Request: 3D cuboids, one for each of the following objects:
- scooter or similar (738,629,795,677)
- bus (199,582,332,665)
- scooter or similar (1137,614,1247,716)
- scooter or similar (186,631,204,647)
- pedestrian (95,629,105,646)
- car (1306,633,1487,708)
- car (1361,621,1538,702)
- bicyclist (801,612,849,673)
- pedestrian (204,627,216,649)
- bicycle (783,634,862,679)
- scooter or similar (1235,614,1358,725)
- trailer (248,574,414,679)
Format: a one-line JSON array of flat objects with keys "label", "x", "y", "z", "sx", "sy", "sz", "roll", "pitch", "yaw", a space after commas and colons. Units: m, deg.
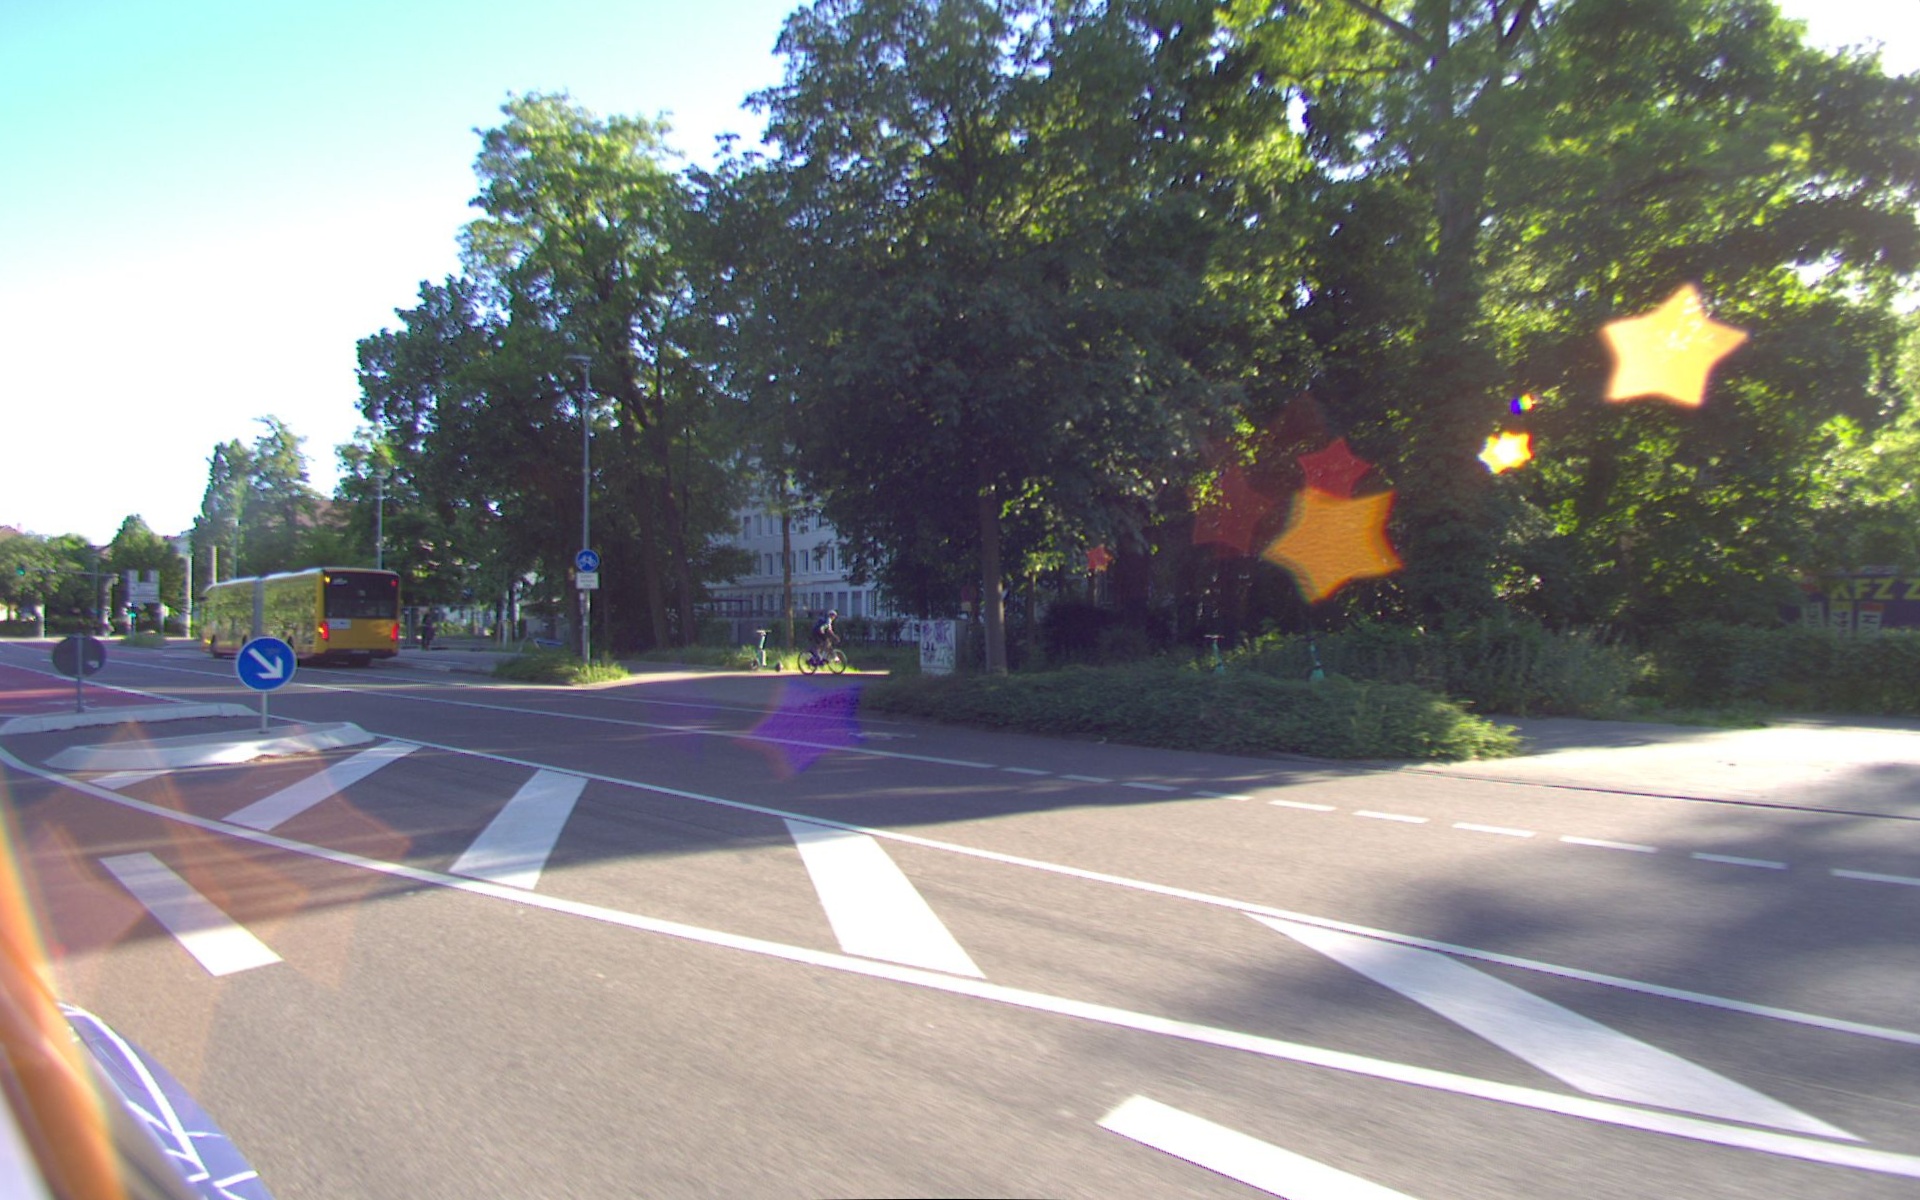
[{"label": "scooter or similar", "x": -5.486, "y": 1.469, "z": 28.679, "sx": 1.570, "sy": 1.320, "sz": 0.819, "roll": -2, "pitch": -2, "yaw": 42}, {"label": "bus", "x": -29.681, "y": 1.007, "z": 43.074, "sx": 8.599, "sy": 3.221, "sz": 2.809, "roll": -1, "pitch": -2, "yaw": 43}, {"label": "scooter or similar", "x": 4.129, "y": 1.135, "z": 18.062, "sx": 1.740, "sy": 1.730, "sz": 0.819, "roll": -2, "pitch": -2, "yaw": 42}, {"label": "scooter or similar", "x": -62.963, "y": 3.181, "z": 83.297, "sx": 0.683, "sy": 1.304, "sz": 1.501, "roll": 1, "pitch": -2, "yaw": -19}, {"label": "pedestrian", "x": -83.740, "y": 3.626, "z": 98.522, "sx": 0.681, "sy": 1.694, "sz": 0.681, "roll": 2, "pitch": -2, "yaw": -40}, {"label": "car", "x": 9.025, "y": 1.422, "z": 21.209, "sx": 1.536, "sy": 1.411, "sz": 3.501, "roll": 3, "pitch": -2, "yaw": -17}, {"label": "car", "x": 10.779, "y": 1.306, "z": 22.548, "sx": 1.536, "sy": 1.663, "sz": 3.501, "roll": 1, "pitch": -2, "yaw": -18}, {"label": "bicyclist", "x": -3.634, "y": 1.142, "z": 27.245, "sx": 0.860, "sy": 1.579, "sz": 0.871, "roll": -3, "pitch": 0, "yaw": 34}, {"label": "pedestrian", "x": -51.869, "y": 2.618, "z": 70.011, "sx": 0.570, "sy": 1.545, "sz": 0.446, "roll": -1, "pitch": -4, "yaw": 37}, {"label": "bicycle", "x": -3.667, "y": 1.486, "z": 27.175, "sx": 0.892, "sy": 1.104, "sz": 2.111, "roll": -2, "pitch": -1, "yaw": 34}, {"label": "scooter or similar", "x": 5.547, "y": 1.111, "z": 16.733, "sx": 1.740, "sy": 1.730, "sz": 0.819, "roll": -2, "pitch": -2, "yaw": 42}, {"label": "trailer", "x": -23.122, "y": 0.883, "z": 36.892, "sx": 9.363, "sy": 3.381, "sz": 2.823, "roll": -1, "pitch": 0, "yaw": 43}]
